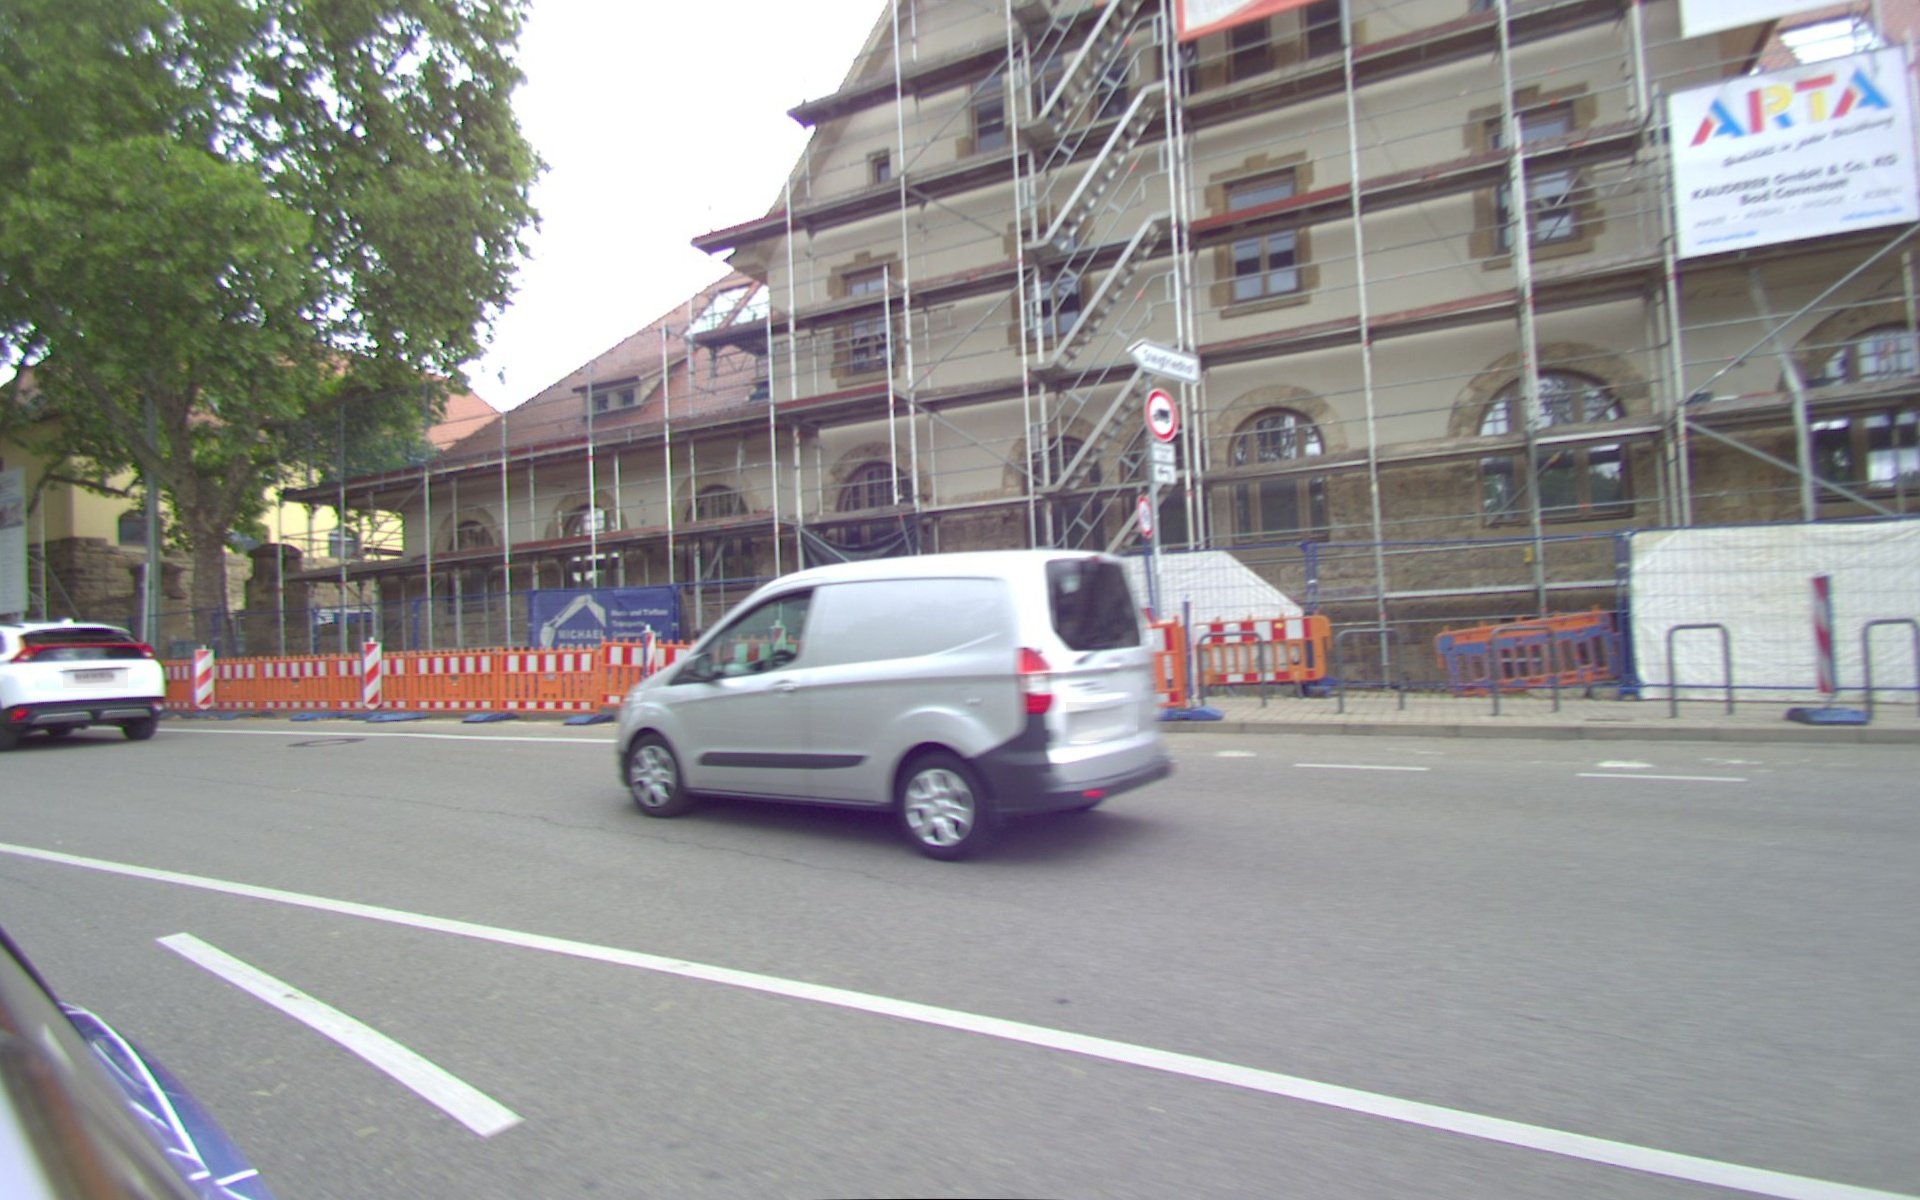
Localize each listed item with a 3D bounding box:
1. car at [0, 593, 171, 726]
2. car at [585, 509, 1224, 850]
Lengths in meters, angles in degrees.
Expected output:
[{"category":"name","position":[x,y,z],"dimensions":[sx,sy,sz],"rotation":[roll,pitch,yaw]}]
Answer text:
[{"category":"car","position":[-13.197,0.826,14.181],"dimensions":[4.489,1.623,1.779],"rotation":[-3,-3,29]},{"category":"car","position":[-0.530,0.406,6.712],"dimensions":[4.074,1.626,1.677],"rotation":[-1,0,36]}]
